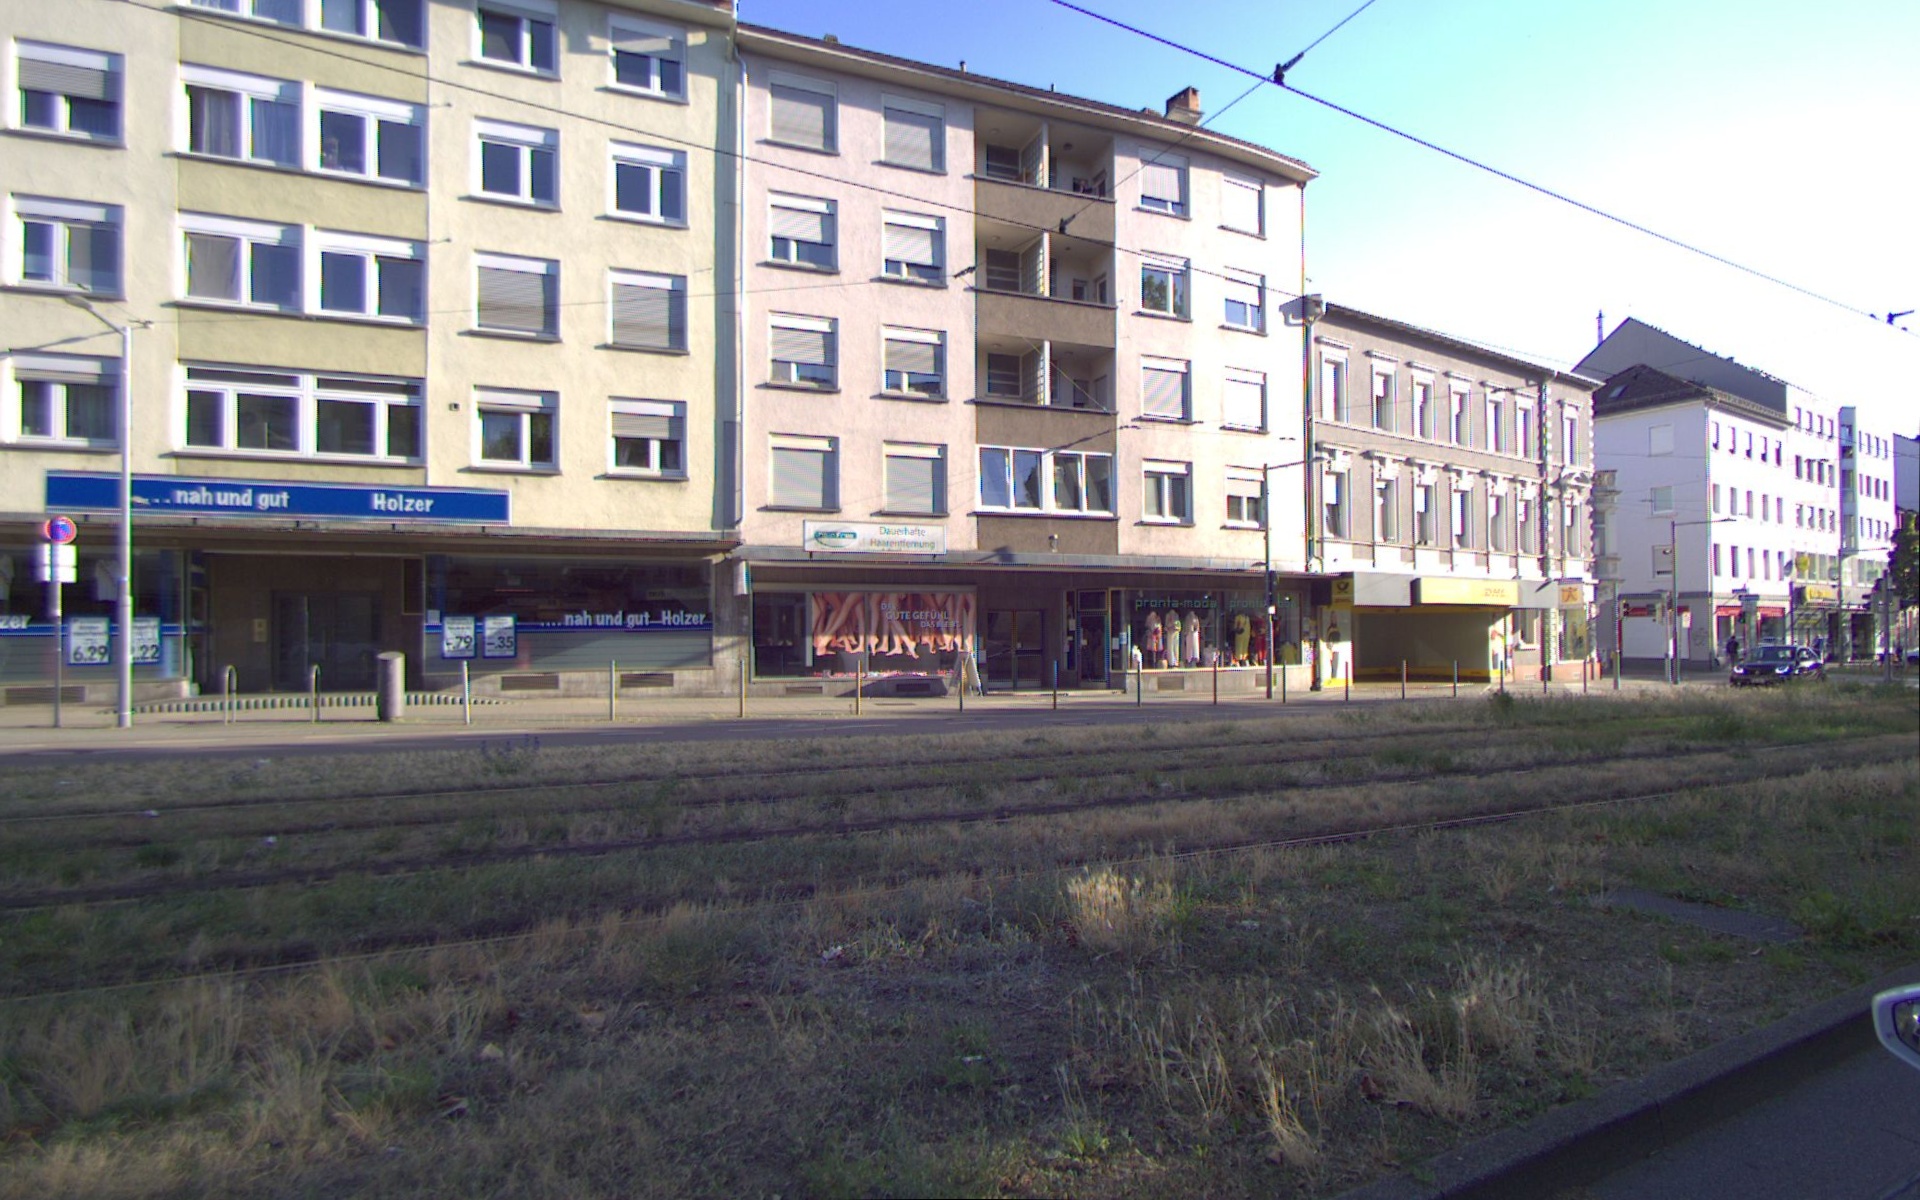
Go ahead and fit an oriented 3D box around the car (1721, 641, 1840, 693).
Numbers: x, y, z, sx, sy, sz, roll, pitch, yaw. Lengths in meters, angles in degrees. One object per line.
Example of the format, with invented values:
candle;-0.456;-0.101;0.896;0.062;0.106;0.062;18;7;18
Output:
car;25.756;2.099;31.526;3.434;1.528;1.716;2;-4;-29

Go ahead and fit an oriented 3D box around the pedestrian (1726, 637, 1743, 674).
pedestrian;36.638;2.625;47.511;0.501;1.736;0.424;1;-2;-26

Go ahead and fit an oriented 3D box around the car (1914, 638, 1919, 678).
car;40.413;2.345;40.187;4.718;1.579;1.984;2;-2;-30

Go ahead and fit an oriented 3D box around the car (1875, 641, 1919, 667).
car;53.291;2.963;54.885;4.465;1.431;1.999;0;-2;24
